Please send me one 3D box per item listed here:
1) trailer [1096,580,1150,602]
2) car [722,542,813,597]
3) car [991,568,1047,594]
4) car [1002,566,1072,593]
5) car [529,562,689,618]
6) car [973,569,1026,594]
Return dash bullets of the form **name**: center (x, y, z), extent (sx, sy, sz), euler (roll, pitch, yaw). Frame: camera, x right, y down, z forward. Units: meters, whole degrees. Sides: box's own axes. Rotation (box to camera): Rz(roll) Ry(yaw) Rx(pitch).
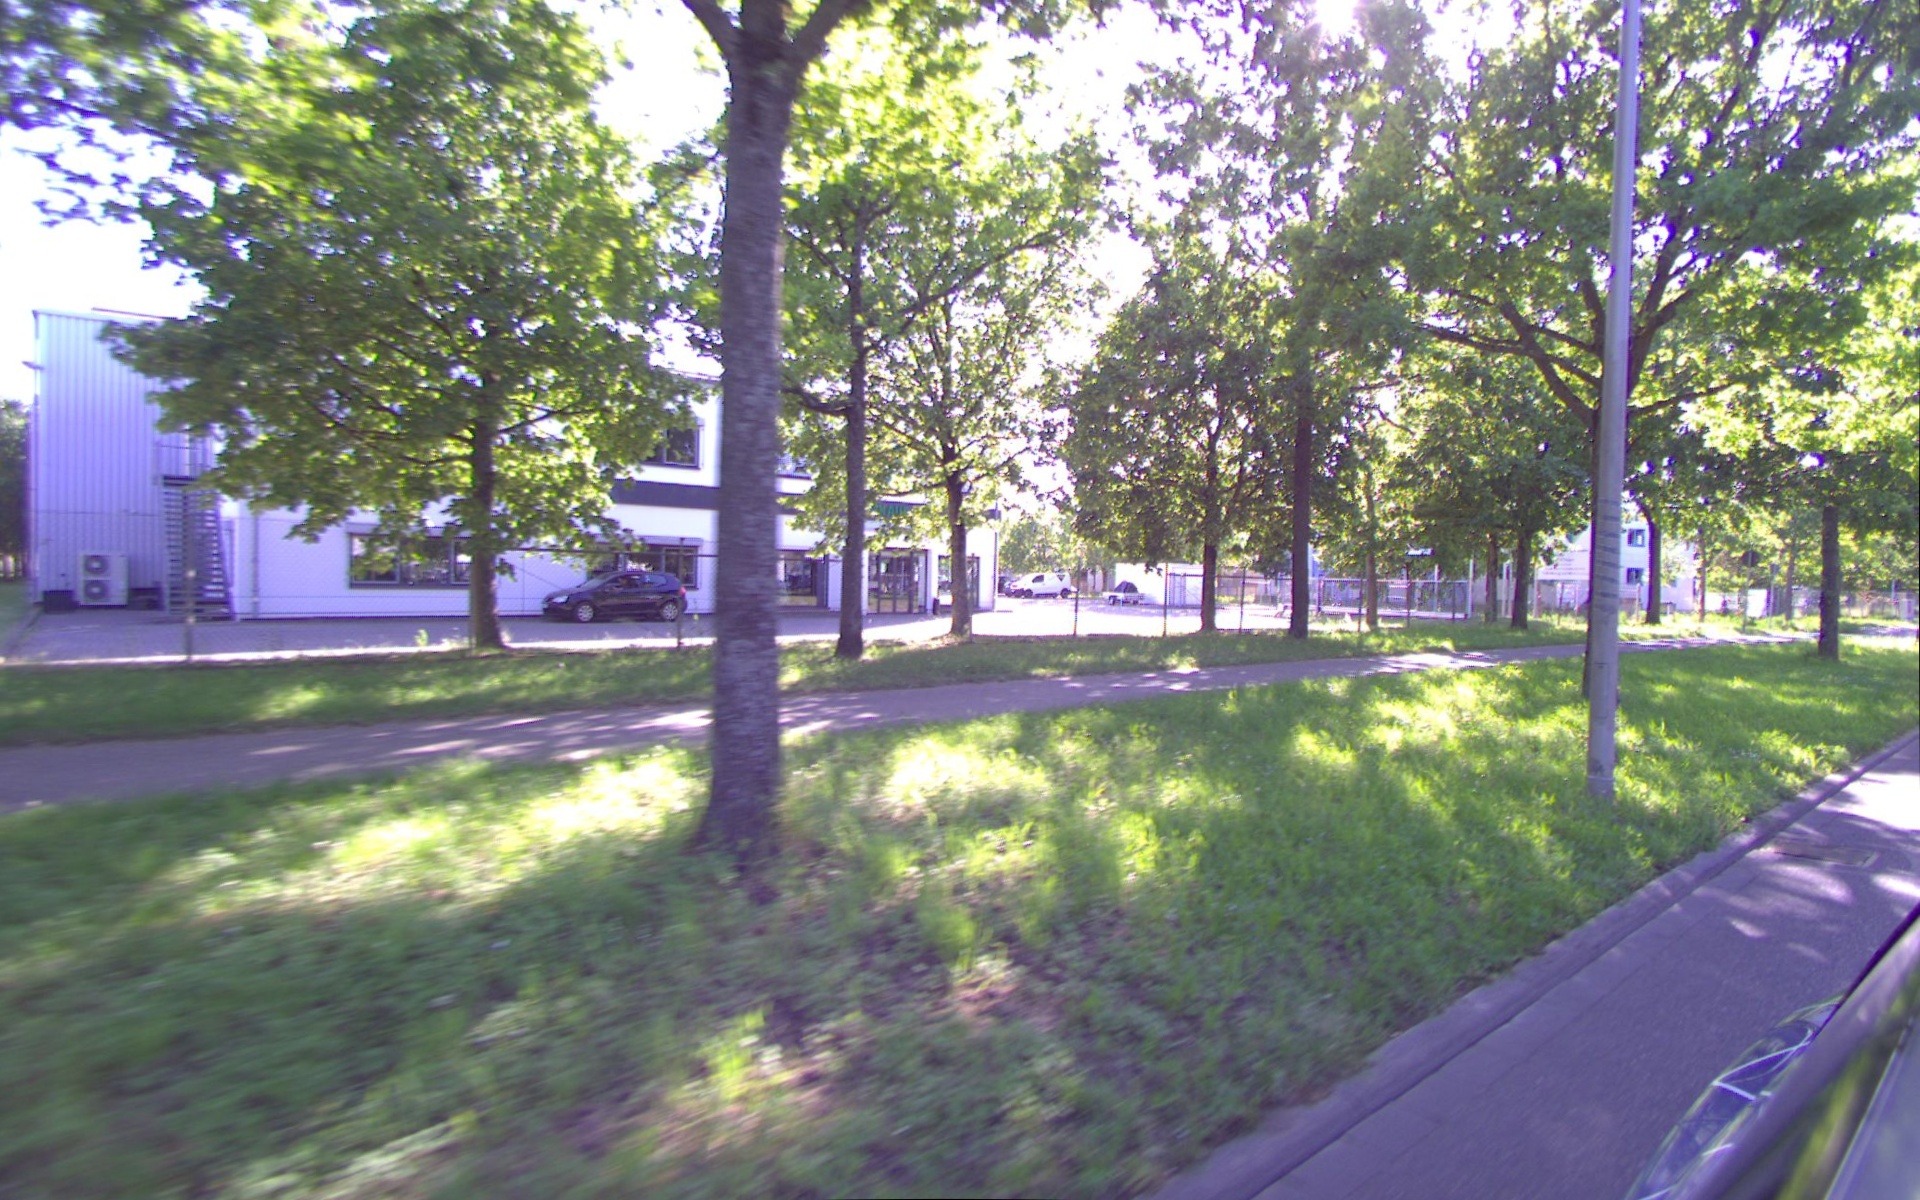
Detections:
- **trailer**: center (10.295, -0.574, 64.165), extent (1.695, 1.282, 3.604), euler (1, 1, -23)
- **car**: center (-9.758, -1.516, 51.488), extent (4.111, 2.665, 1.997), euler (0, 1, -41)
- **car**: center (4.694, -1.515, 80.452), extent (3.916, 2.039, 2.004), euler (0, 0, -22)
- **car**: center (5.917, -1.569, 77.613), extent (5.009, 2.039, 2.003), euler (-1, 0, -24)
- **car**: center (-10.197, -0.299, 29.564), extent (4.084, 1.525, 1.719), euler (-1, 0, -39)
- **car**: center (3.296, -1.540, 84.512), extent (3.916, 2.039, 2.004), euler (0, 0, -22)
